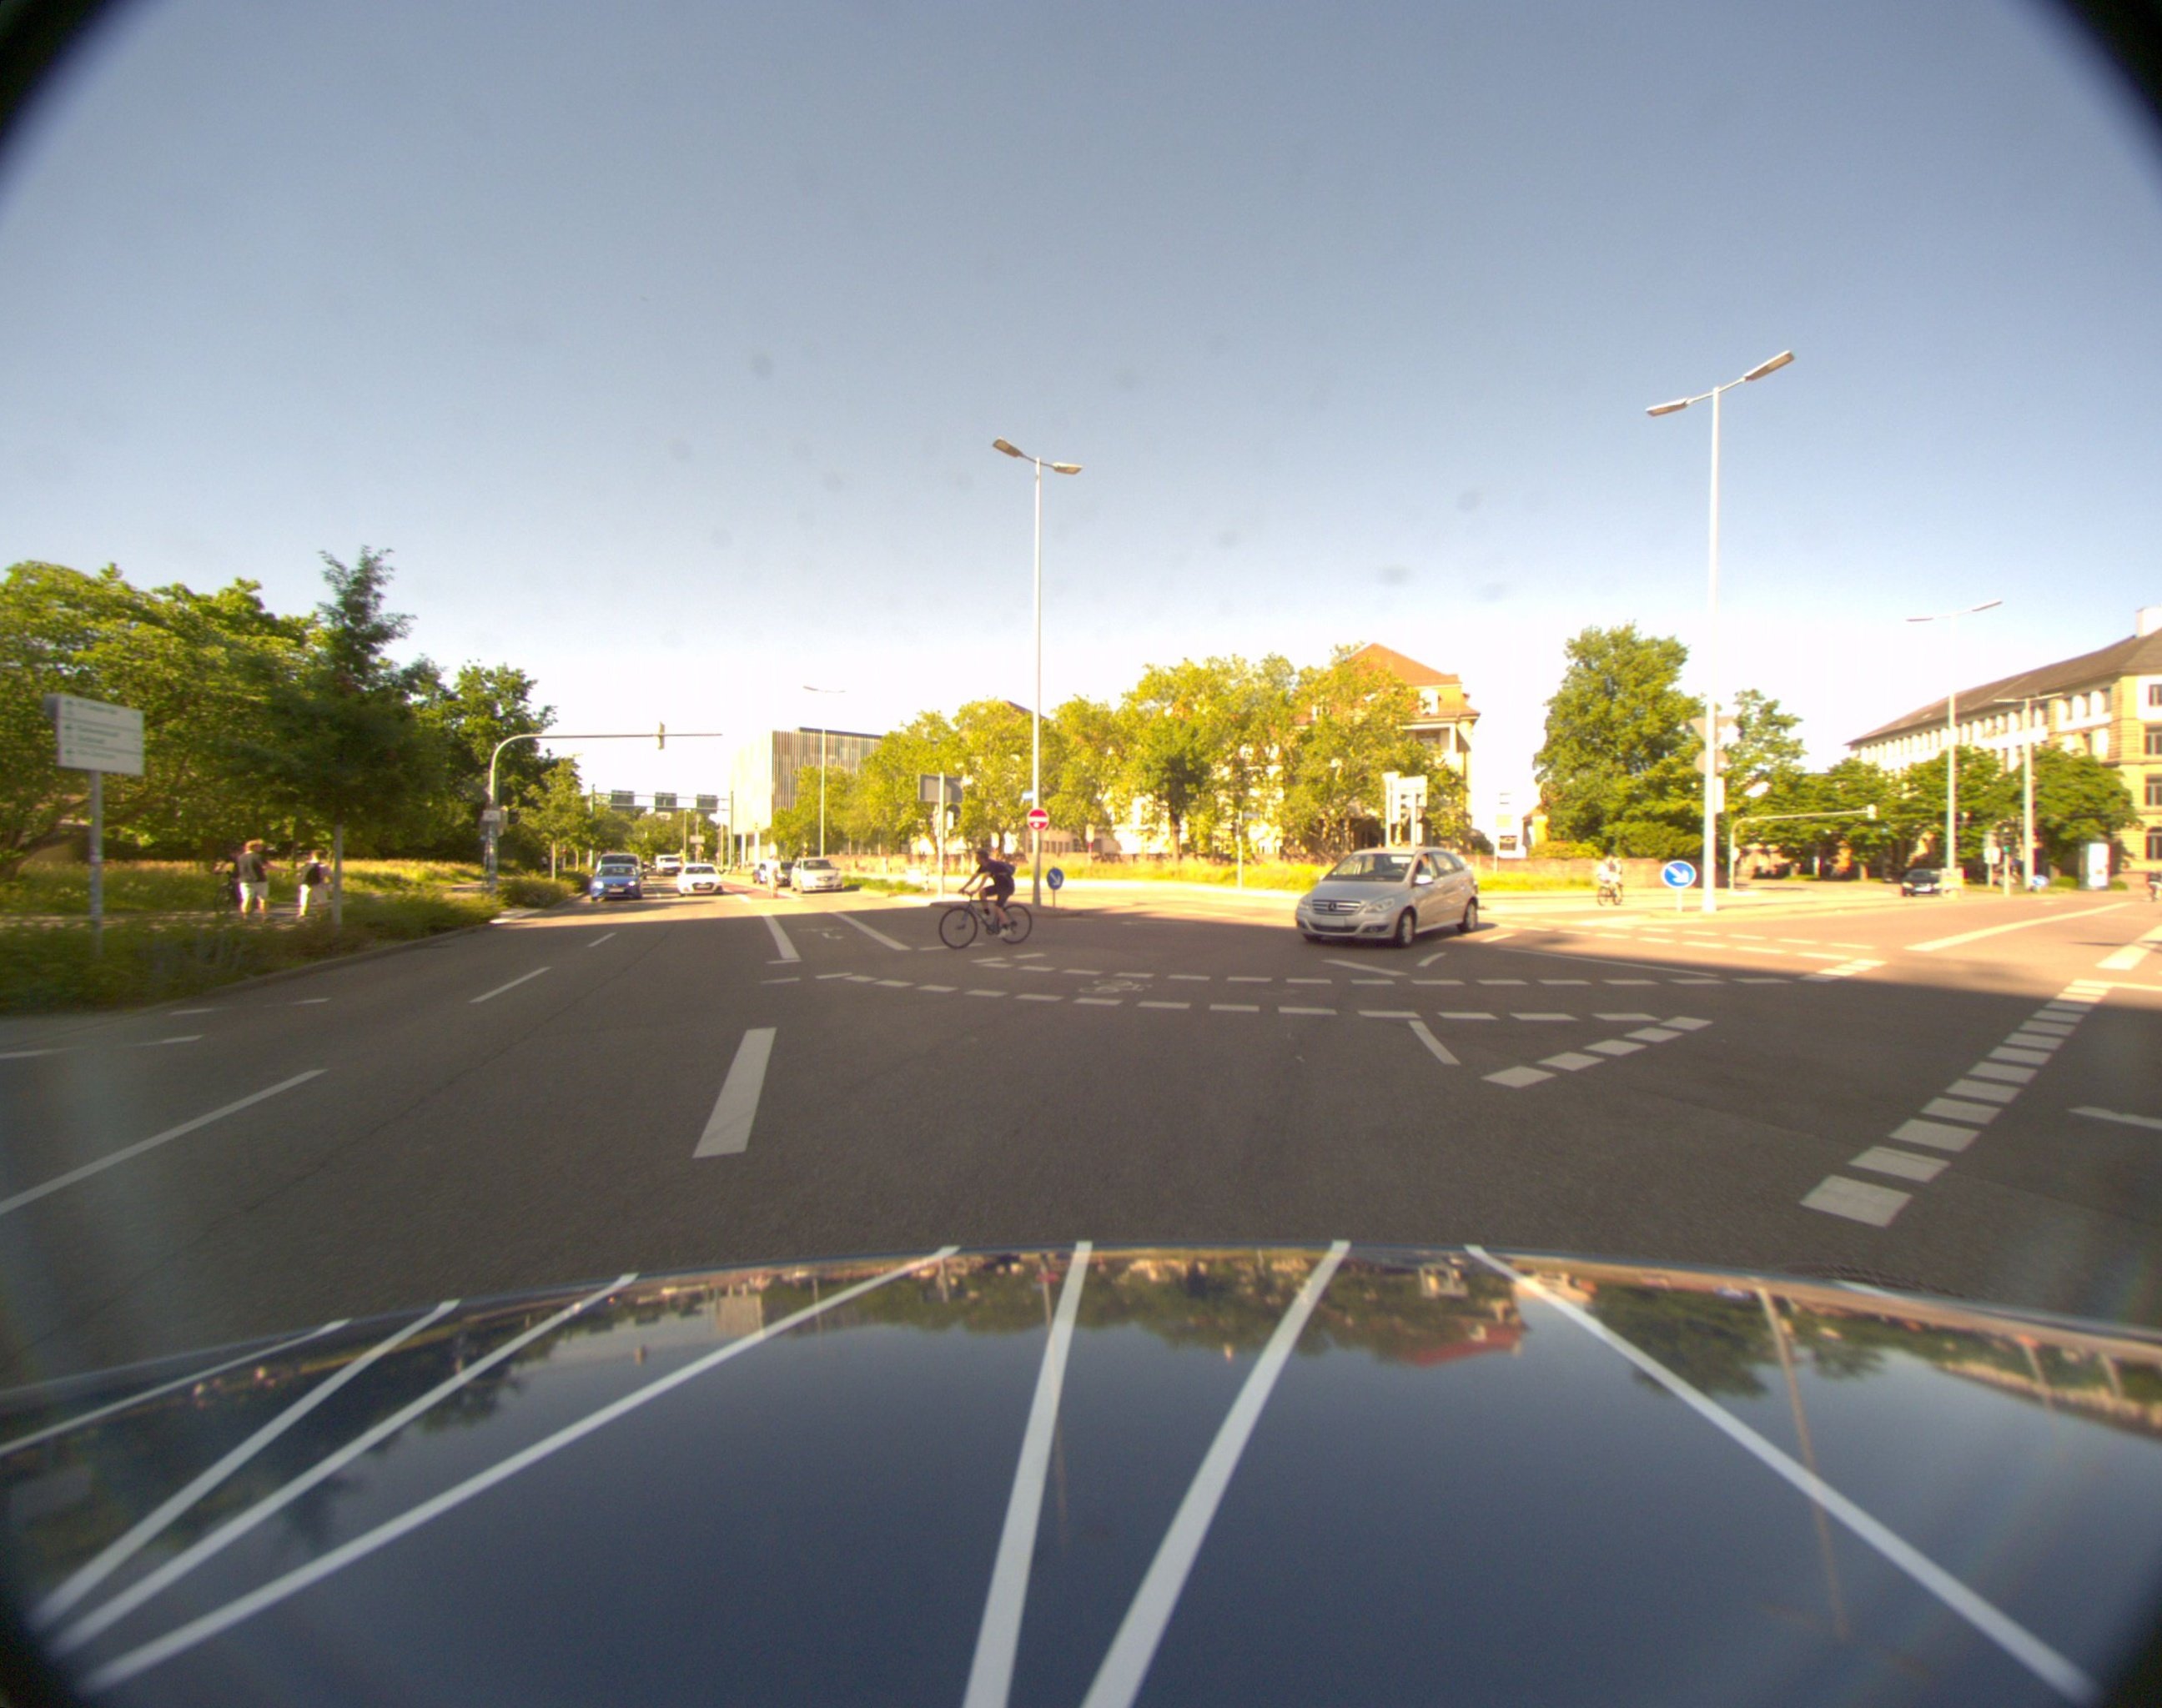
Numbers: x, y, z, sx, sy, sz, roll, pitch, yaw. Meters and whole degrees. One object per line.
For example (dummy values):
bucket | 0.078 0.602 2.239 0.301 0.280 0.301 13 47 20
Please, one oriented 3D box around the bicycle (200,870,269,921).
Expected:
bicycle | -20.680 0.984 18.601 0.644 1.158 1.865 0 0 -32

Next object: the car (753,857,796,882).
car | -20.109 0.994 49.690 1.987 1.545 4.713 -1 0 -29

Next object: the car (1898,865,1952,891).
car | 48.830 1.389 43.994 4.307 1.464 1.995 1 -3 -42

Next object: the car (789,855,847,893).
car | -12.269 0.887 35.314 1.792 1.615 4.306 -1 0 -29

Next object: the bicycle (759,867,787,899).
bicycle | -12.303 1.150 30.357 0.749 1.158 1.865 0 1 -31

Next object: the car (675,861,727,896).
car | -17.122 1.071 34.401 2.003 1.460 3.991 0 0 -25

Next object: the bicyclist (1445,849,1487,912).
bicyclist | 10.289 0.691 20.303 0.777 1.653 0.642 0 0 -25

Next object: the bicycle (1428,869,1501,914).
bicycle | 10.247 0.978 20.288 1.970 1.158 0.642 0 -1 -26

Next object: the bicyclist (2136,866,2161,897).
bicyclist | 55.714 1.429 39.617 0.979 1.612 0.720 0 1 -34

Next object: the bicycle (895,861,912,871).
bicycle | -20.993 1.425 89.798 2.080 1.069 0.798 -3 -3 42

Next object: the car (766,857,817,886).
car | -16.484 0.954 43.114 1.987 1.545 4.713 -1 0 -29

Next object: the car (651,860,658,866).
car | -116.516 2.554 207.585 1.696 1.583 3.590 -1 0 -31

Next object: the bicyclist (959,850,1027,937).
bicyclist | -1.514 0.661 13.095 0.955 1.436 0.641 -1 0 -34

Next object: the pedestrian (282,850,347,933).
pedestrian | -17.100 0.824 16.969 0.732 1.805 0.735 -1 -2 -16

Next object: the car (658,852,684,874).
car | -37.926 0.840 70.235 1.942 1.941 4.521 -1 0 -31

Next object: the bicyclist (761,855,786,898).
bicyclist | -12.255 0.879 30.266 0.747 1.675 0.975 0 1 -31

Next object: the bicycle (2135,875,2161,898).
bicycle | 55.615 1.670 39.556 1.874 1.158 0.746 1 1 -34

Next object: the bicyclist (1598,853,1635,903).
bicyclist | 18.388 0.811 26.084 0.778 1.653 0.783 0 0 -34

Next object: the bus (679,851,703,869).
bus | -77.250 1.165 150.443 2.994 3.253 6.241 1 -3 -39

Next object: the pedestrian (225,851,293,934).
pedestrian | -18.057 0.844 16.713 0.732 1.771 0.735 -1 -2 -16

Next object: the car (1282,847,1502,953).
car | 5.680 0.722 13.554 4.648 1.584 1.767 1 -1 -42

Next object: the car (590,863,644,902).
car | -18.709 1.083 30.780 1.707 1.433 3.991 -1 0 -29

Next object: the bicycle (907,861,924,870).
bicycle | -19.209 1.336 88.287 2.080 1.069 0.798 -3 -3 42

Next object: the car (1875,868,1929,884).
car | 95.504 2.576 88.442 3.795 1.805 2.002 0 0 9

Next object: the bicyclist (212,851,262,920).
bicyclist | -20.699 0.760 18.648 0.644 1.635 0.775 0 0 -32

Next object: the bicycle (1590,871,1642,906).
bicycle | 18.377 1.165 26.081 1.971 1.158 0.777 1 -1 -34

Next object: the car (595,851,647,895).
car | -22.080 0.890 36.589 1.942 1.941 4.746 -1 0 -29

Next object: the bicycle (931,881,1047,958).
bicycle | -1.569 1.092 13.066 1.873 1.158 0.641 -1 1 -34

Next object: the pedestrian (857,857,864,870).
pedestrian | -27.379 1.191 94.282 0.654 1.601 0.557 0 -2 -35
